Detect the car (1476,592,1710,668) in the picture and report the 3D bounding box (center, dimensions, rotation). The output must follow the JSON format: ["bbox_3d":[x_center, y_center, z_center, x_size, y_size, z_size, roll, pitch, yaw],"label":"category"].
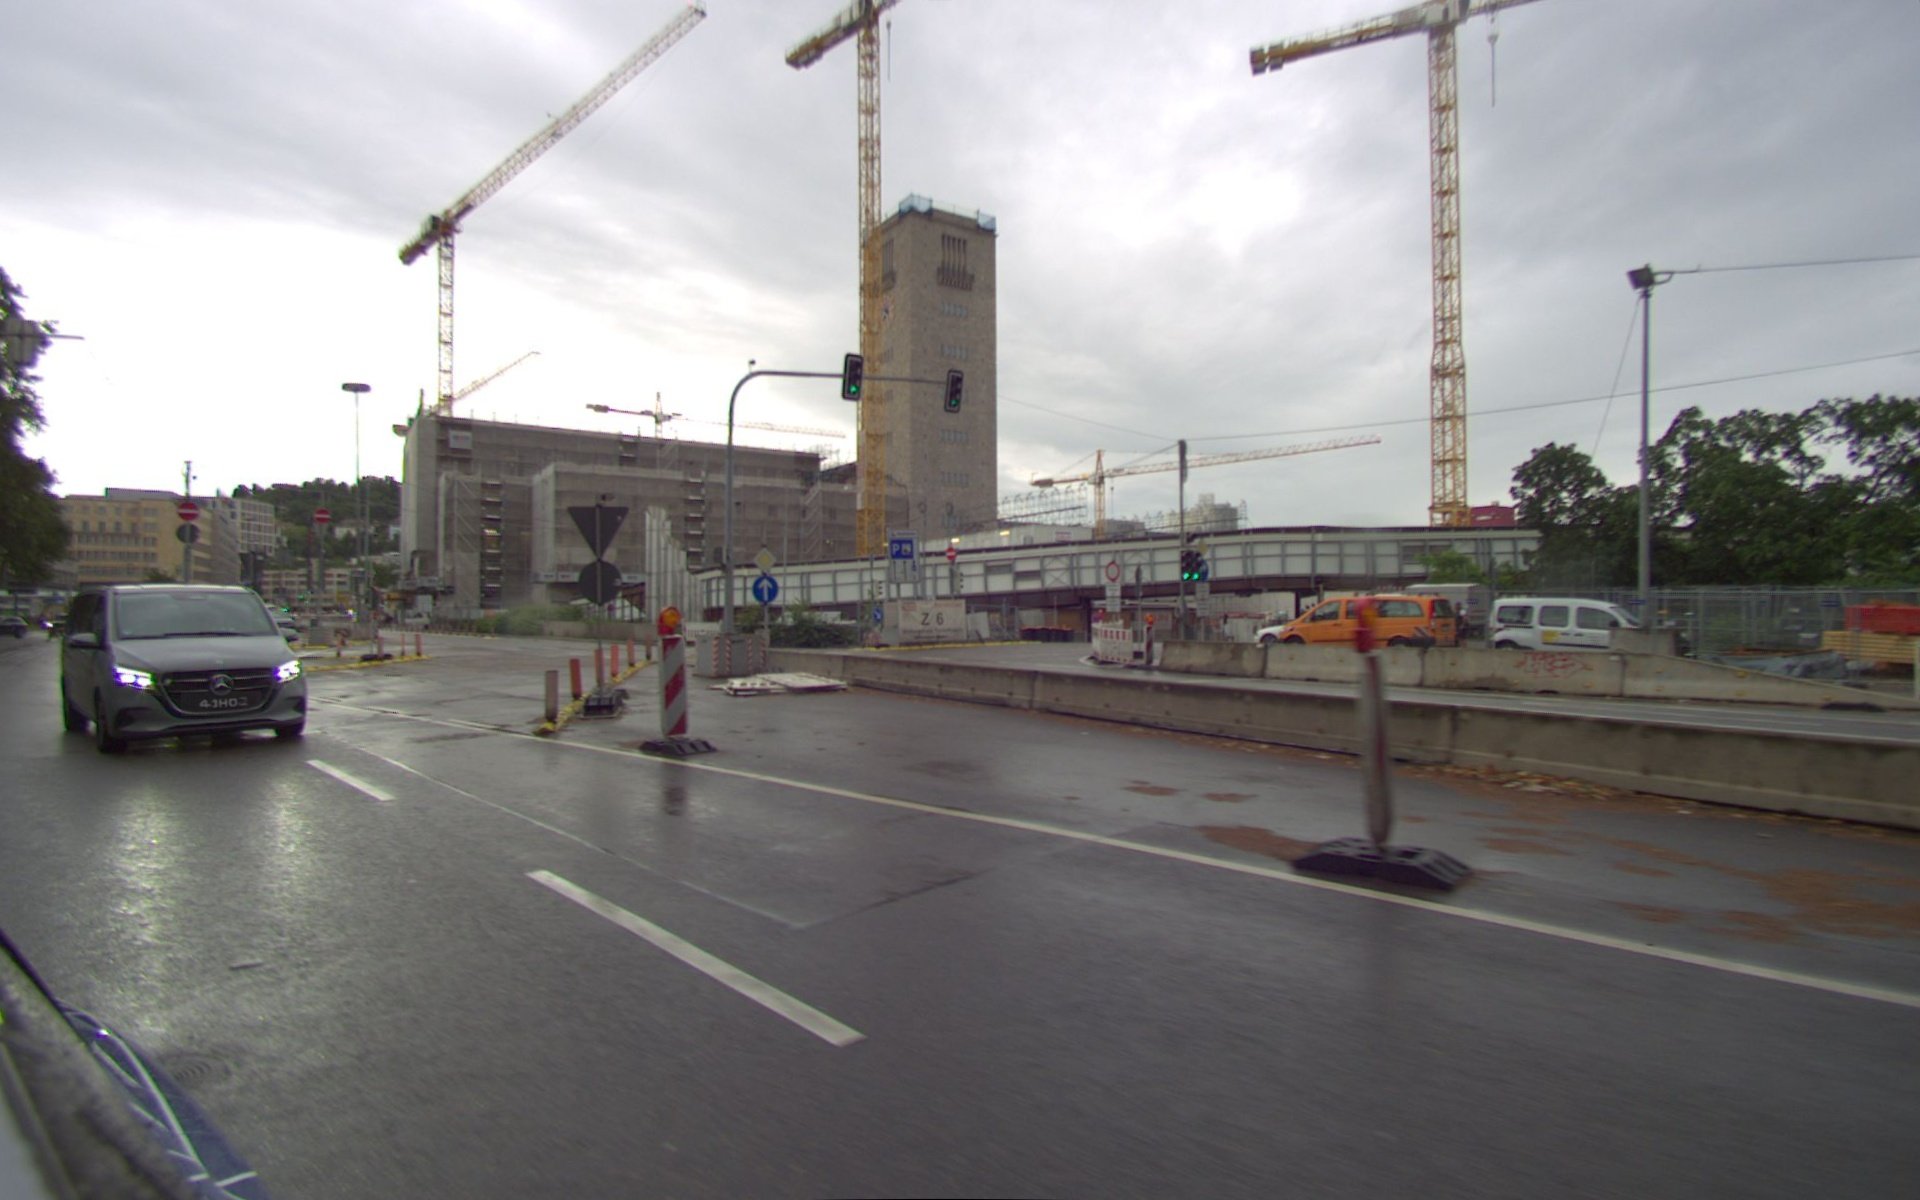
[{"bbox_3d":[16.187,0.751,26.090,1.822,1.775,4.804,2,-2,-41],"label":"car"}]

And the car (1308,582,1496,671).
[{"bbox_3d":[16.567,0.998,38.264,2.246,3.089,6.176,2,-2,-42],"label":"car"}]

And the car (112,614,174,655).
[{"bbox_3d":[-35.617,1.489,44.192,1.785,1.474,4.928,12,-8,-37],"label":"car"}]

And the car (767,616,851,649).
[{"bbox_3d":[-9.706,2.086,65.170,4.976,2.029,1.991,0,-2,13],"label":"car"}]

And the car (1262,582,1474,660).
[{"bbox_3d":[12.148,0.643,30.452,1.970,2.117,5.586,4,-4,-44],"label":"car"}]

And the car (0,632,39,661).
[{"bbox_3d":[-60.926,2.945,63.737,1.976,1.777,3.991,1,-2,7],"label":"car"}]

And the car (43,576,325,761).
[{"bbox_3d":[-9.940,0.762,12.758,5.357,1.870,1.972,-2,-1,43],"label":"car"}]

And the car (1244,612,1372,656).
[{"bbox_3d":[11.857,1.142,34.556,3.828,1.426,1.741,0,-2,38],"label":"car"}]
